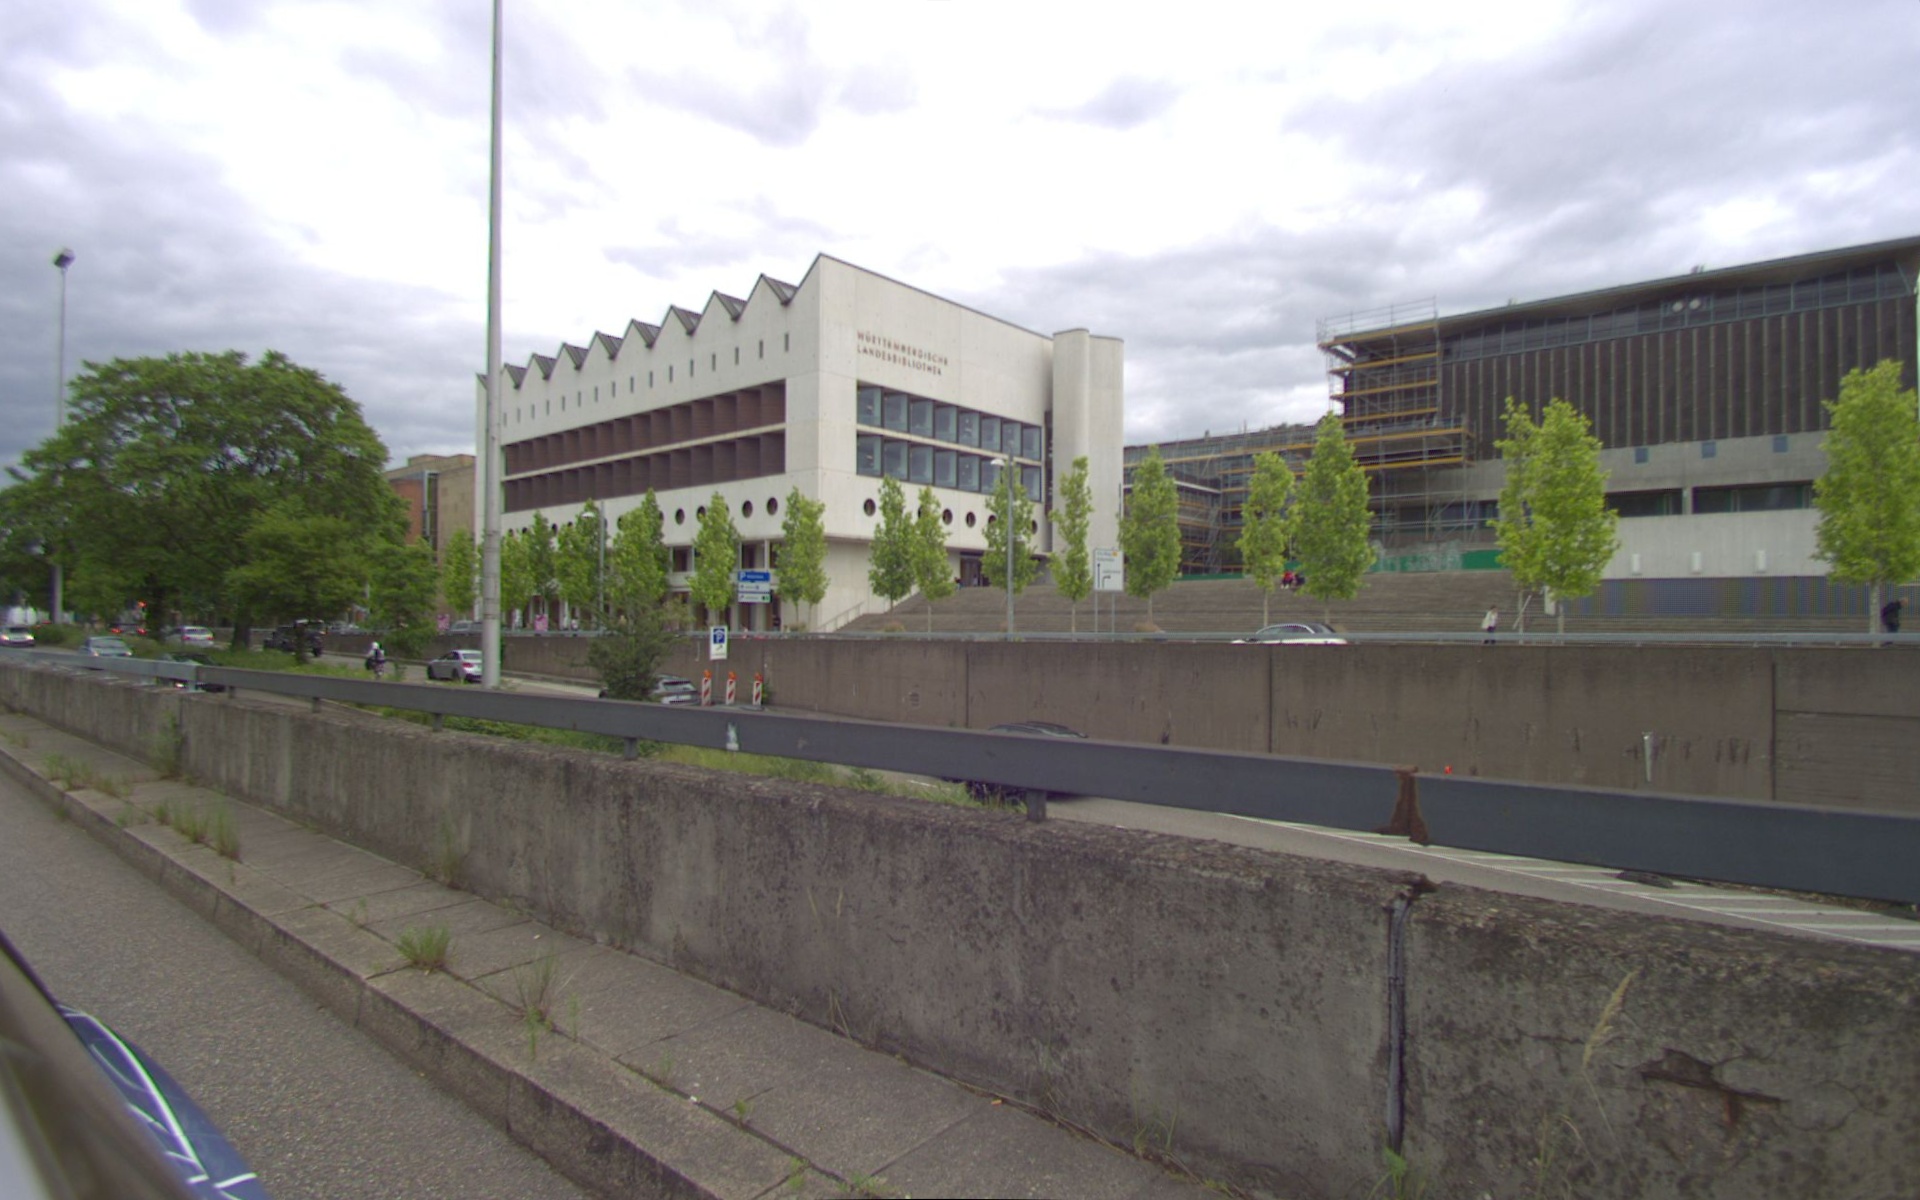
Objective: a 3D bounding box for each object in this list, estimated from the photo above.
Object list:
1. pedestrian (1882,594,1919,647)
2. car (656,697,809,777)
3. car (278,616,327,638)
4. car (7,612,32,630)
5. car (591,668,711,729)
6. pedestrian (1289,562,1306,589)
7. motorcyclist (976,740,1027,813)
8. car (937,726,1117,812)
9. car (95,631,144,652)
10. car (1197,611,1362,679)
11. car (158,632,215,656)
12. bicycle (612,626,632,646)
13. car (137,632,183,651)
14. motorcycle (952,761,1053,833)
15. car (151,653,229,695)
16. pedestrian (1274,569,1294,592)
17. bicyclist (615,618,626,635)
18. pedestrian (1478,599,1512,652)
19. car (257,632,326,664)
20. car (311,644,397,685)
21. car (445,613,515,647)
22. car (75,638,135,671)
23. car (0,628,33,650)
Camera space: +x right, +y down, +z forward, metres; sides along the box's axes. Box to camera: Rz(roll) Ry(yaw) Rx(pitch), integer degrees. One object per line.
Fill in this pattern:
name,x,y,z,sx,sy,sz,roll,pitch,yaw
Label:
pedestrian,30.135,0.670,32.325,0.728,1.655,0.795,0,-3,-34
car,-6.051,3.521,26.662,4.144,1.500,1.757,2,-1,40
car,-52.717,2.164,81.160,4.484,1.640,1.931,-1,-1,38
car,-99.127,2.206,106.672,3.999,1.868,1.588,-1,1,42
car,-10.802,3.356,35.208,4.388,1.625,1.851,2,0,40
pedestrian,17.826,-1.295,53.444,0.623,1.248,0.665,-1,22,34
motorcyclist,0.858,3.614,20.878,0.717,1.362,0.662,2,-3,40
car,1.550,3.956,24.224,4.003,1.338,1.787,2,0,40
car,-59.100,2.902,71.146,3.998,1.409,1.973,-1,-4,41
car,8.968,1.259,28.568,3.998,1.776,1.973,-1,-4,41
car,-47.531,2.695,62.169,3.998,1.409,1.973,-1,-4,41
bicycle,-22.534,2.411,67.503,1.697,1.282,0.398,-1,1,39
car,-64.150,3.336,81.107,3.995,1.409,1.974,-1,-4,39
motorcycle,0.849,4.021,20.841,2.050,1.106,0.678,2,-3,41
car,-29.451,2.792,38.674,4.089,1.425,1.539,-1,-1,40
pedestrian,17.286,-1.041,53.969,0.767,0.949,0.719,-3,22,35
bicyclist,-22.653,1.769,67.581,0.643,1.169,0.398,-1,1,39
pedestrian,20.808,1.000,39.380,0.729,2.029,0.794,-1,-3,-9
car,-39.896,2.836,60.333,4.513,1.657,2.133,1,-3,40
car,-27.401,2.891,45.717,4.515,1.687,1.973,-1,-4,41
car,-26.456,1.672,55.747,3.998,1.776,1.973,-1,-4,41
car,-41.278,2.603,48.823,4.089,1.425,1.539,-1,-1,40
car,-62.681,2.558,66.850,4.089,1.425,1.636,-1,-1,40
